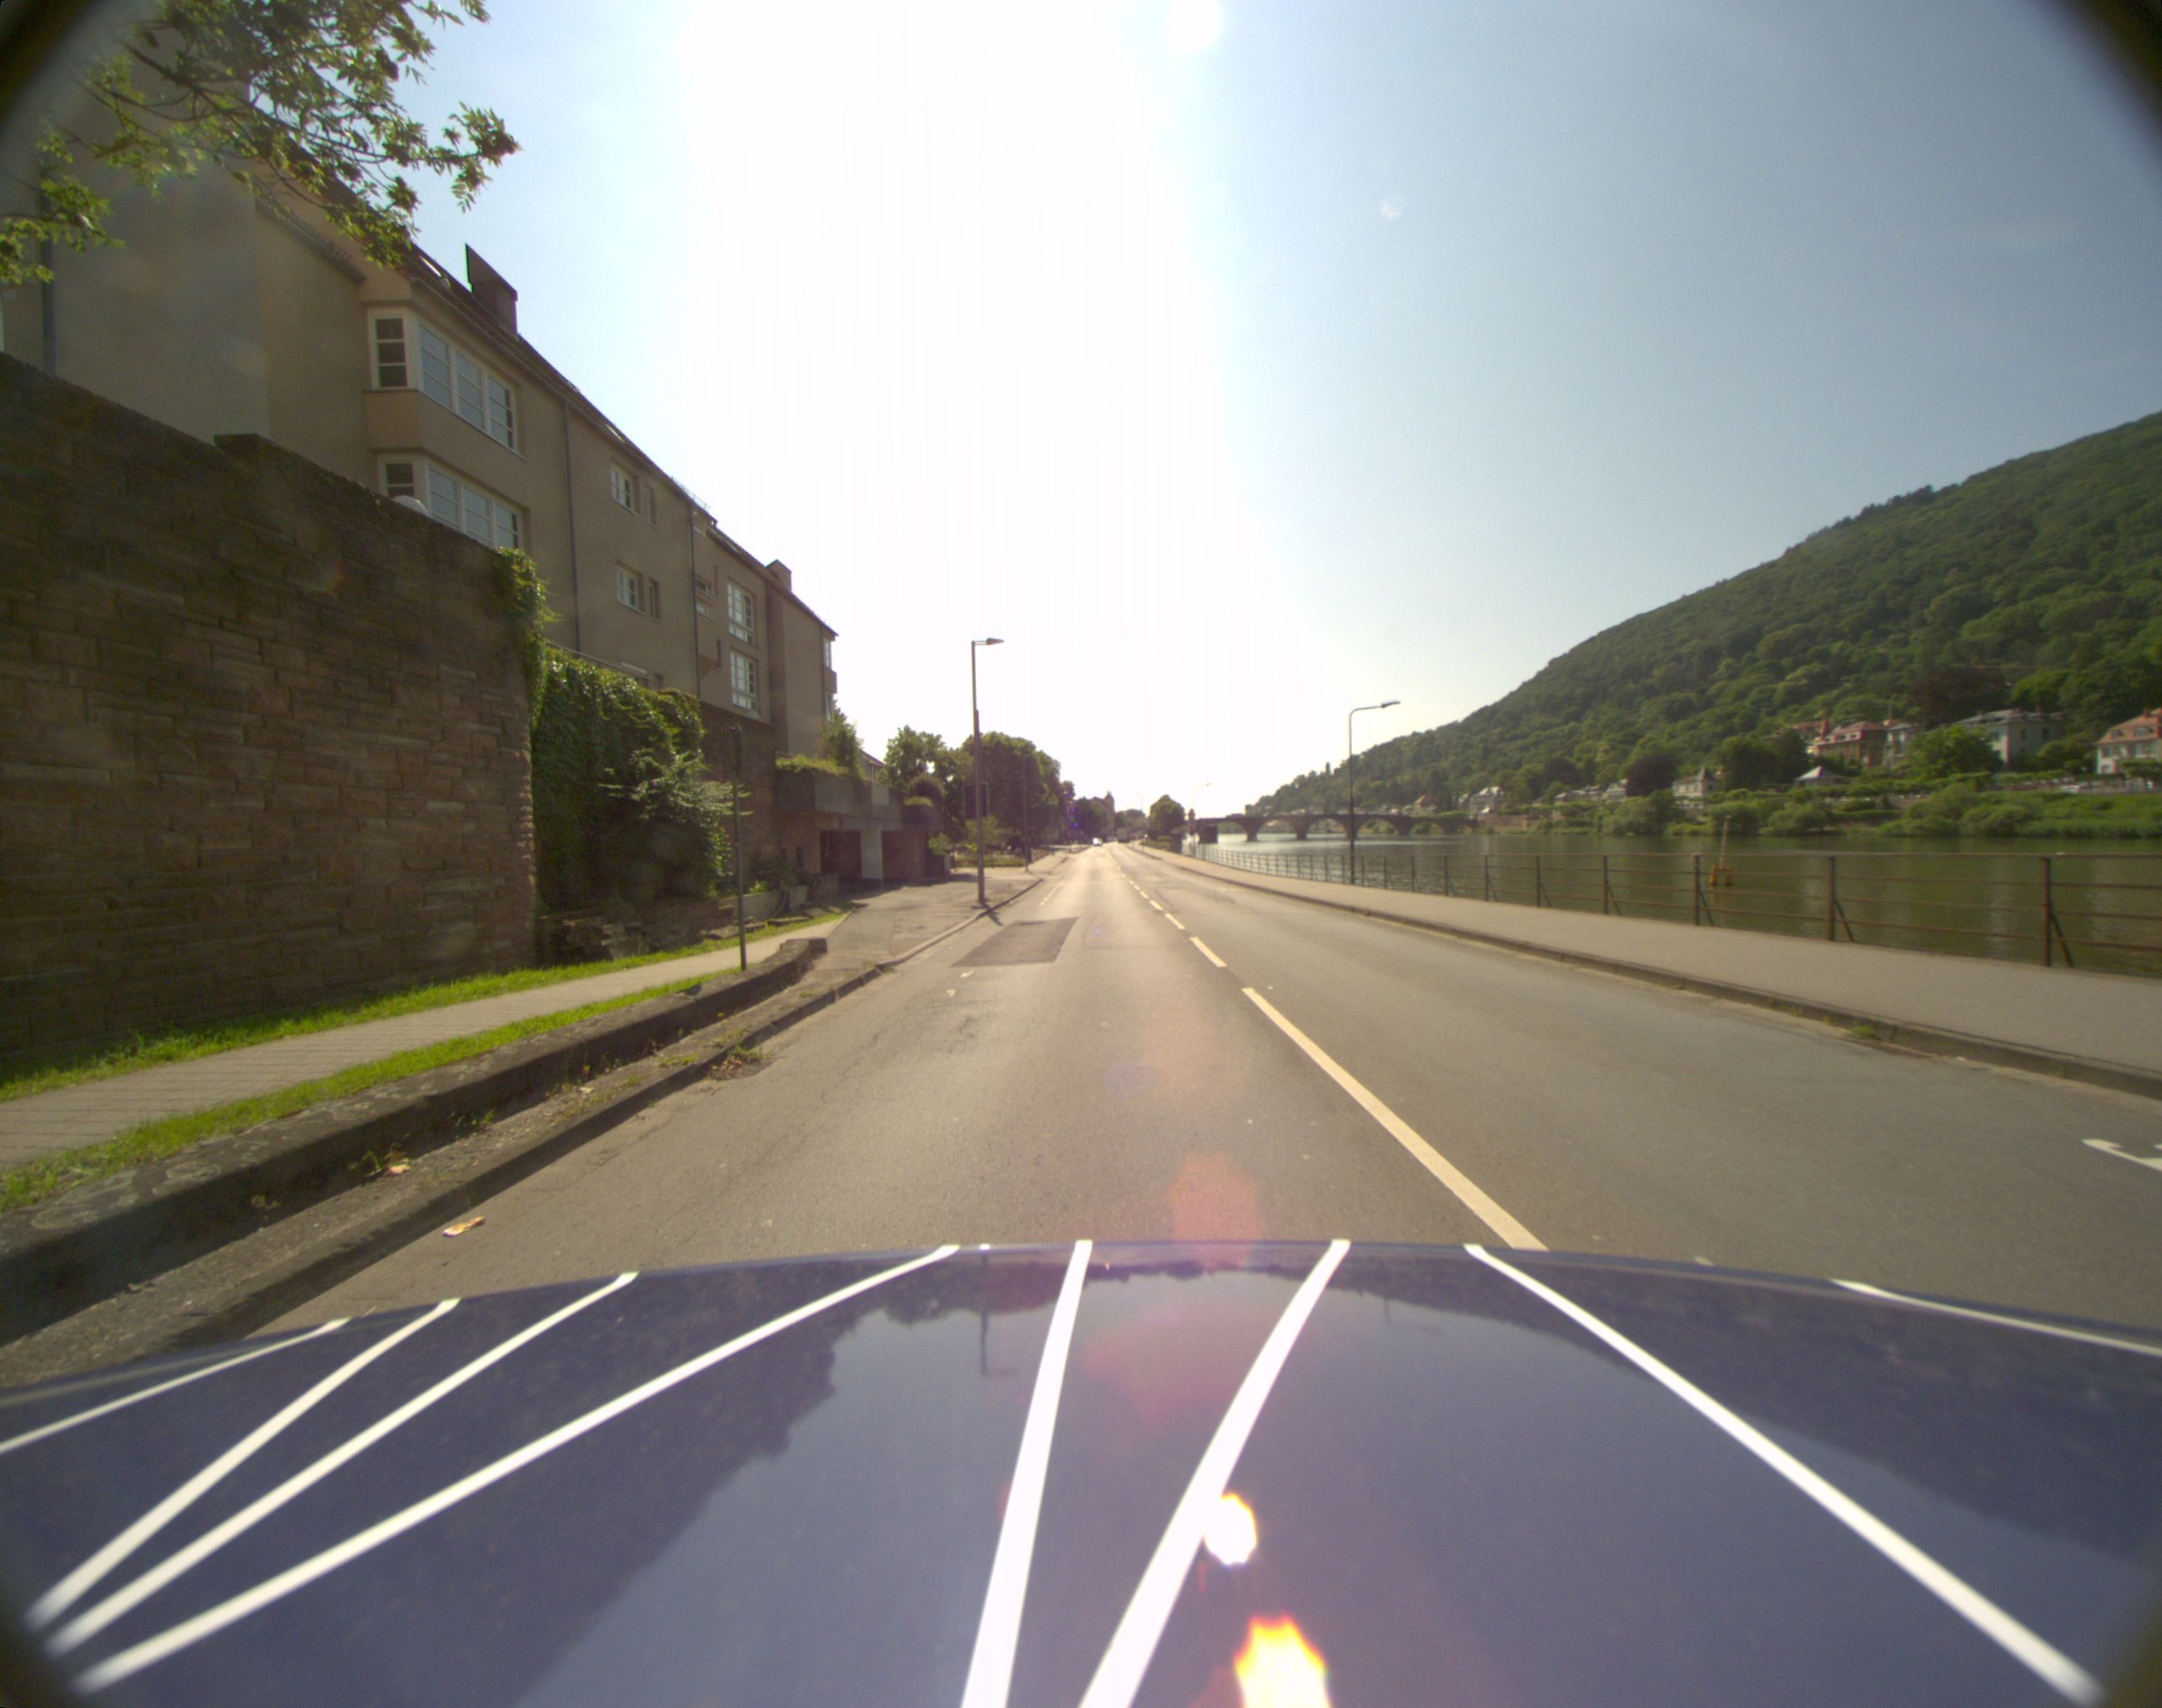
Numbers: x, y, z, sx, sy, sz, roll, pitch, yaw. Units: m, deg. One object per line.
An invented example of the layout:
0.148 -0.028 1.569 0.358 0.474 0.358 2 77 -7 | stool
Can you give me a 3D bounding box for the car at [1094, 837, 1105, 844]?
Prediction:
3.642 -2.660 152.253 1.998 1.433 4.001 -1 0 4 | car
